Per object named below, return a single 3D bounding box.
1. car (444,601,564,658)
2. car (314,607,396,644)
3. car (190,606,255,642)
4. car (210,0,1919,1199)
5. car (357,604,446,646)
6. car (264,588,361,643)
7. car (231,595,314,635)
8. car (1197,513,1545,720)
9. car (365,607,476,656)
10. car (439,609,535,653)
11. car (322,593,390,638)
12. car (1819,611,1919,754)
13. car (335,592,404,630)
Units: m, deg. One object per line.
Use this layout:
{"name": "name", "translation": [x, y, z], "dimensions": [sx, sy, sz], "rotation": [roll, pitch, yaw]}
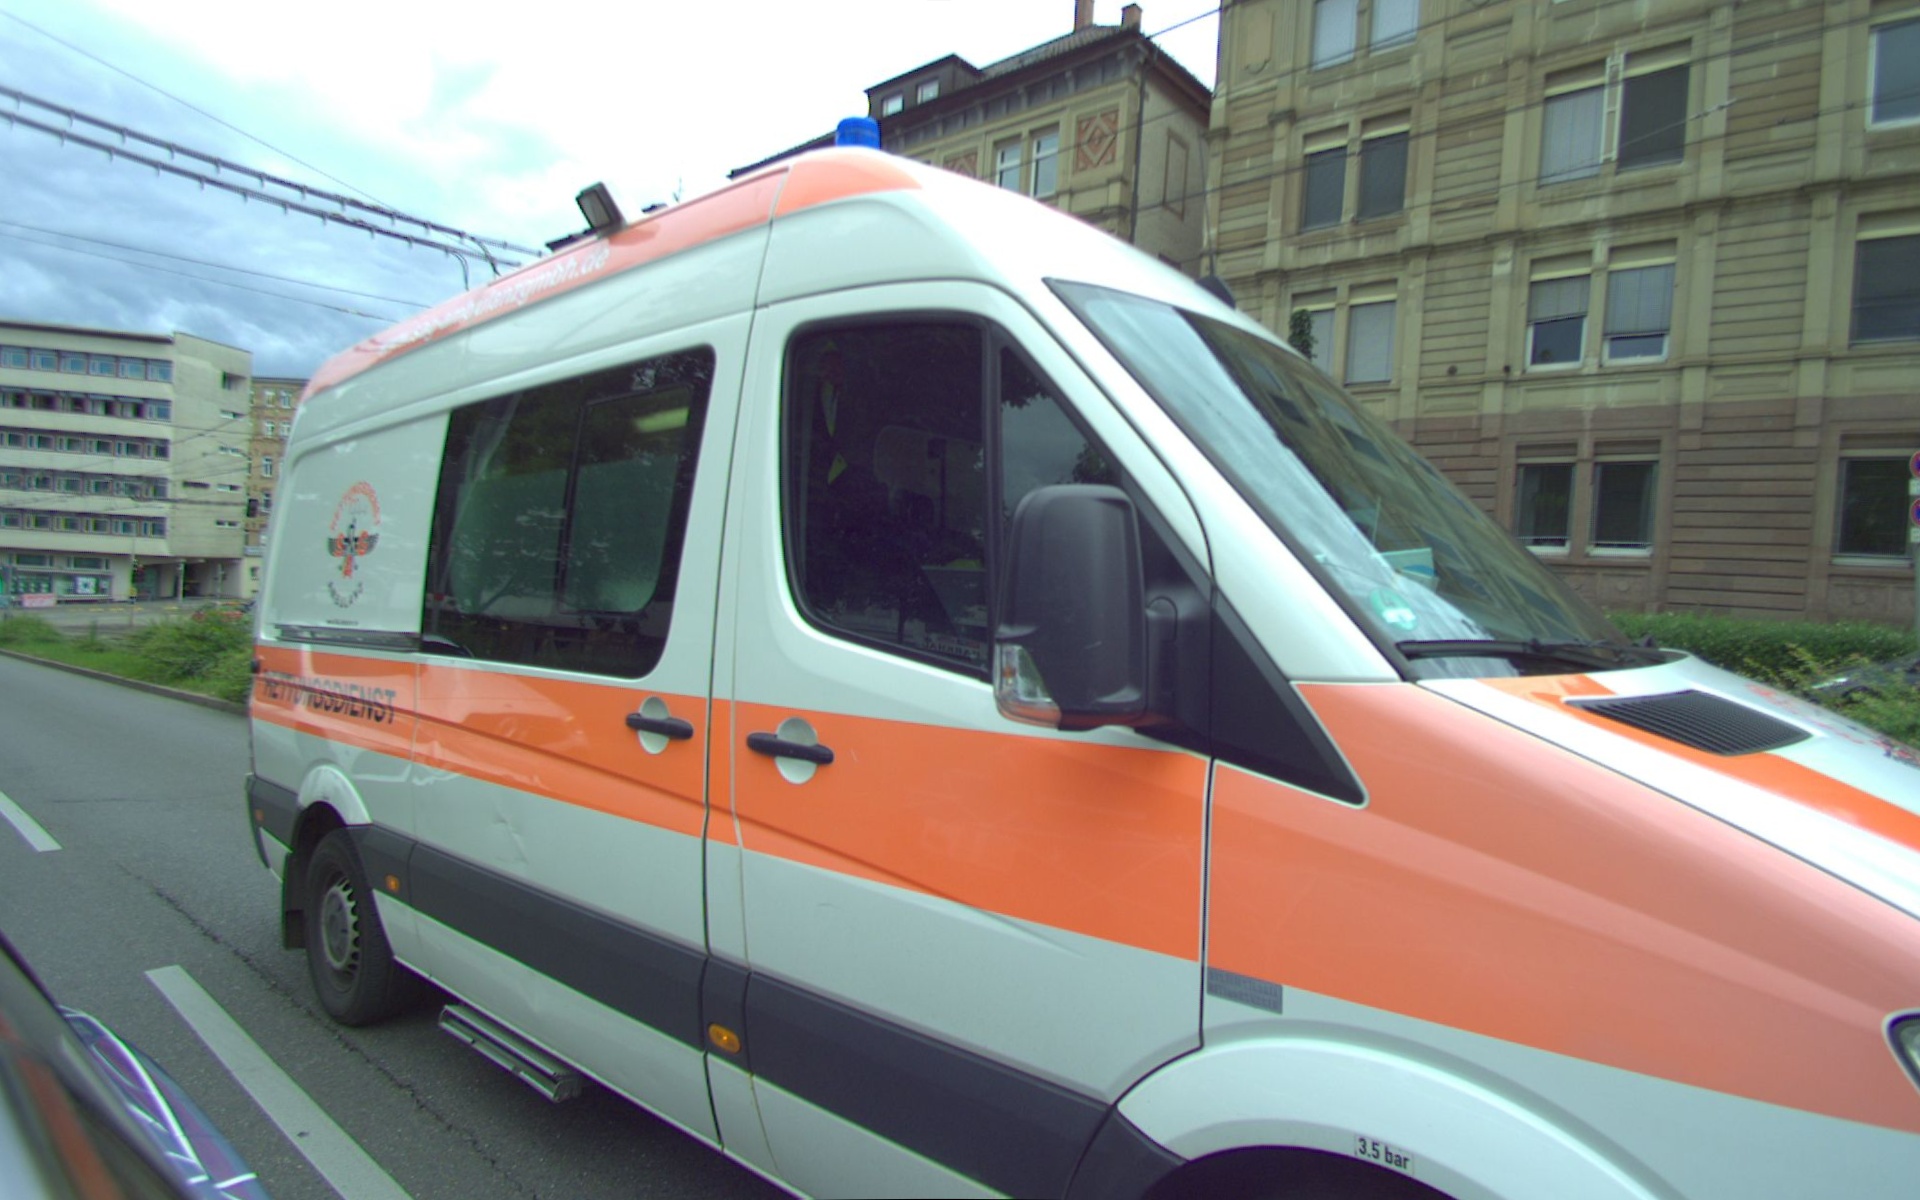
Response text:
{"name": "car", "translation": [-13.195, 0.821, 29.217], "dimensions": [3.758, 1.541, 1.736], "rotation": [0, -2, 41]}
{"name": "car", "translation": [-26.038, 1.074, 43.535], "dimensions": [3.998, 1.522, 1.863], "rotation": [0, -2, 41]}
{"name": "car", "translation": [-34.434, 1.111, 47.241], "dimensions": [3.843, 1.641, 1.659], "rotation": [0, -2, 42]}
{"name": "car", "translation": [-0.303, 0.346, 3.144], "dimensions": [5.851, 2.720, 2.012], "rotation": [-1, -1, 41]}
{"name": "car", "translation": [-22.244, 0.990, 40.274], "dimensions": [3.996, 1.581, 1.736], "rotation": [0, -2, 40]}
{"name": "car", "translation": [-25.545, 0.627, 39.850], "dimensions": [4.748, 2.029, 2.118], "rotation": [0, -2, 44]}
{"name": "car", "translation": [-29.305, 0.641, 43.123], "dimensions": [3.998, 1.596, 1.972], "rotation": [0, -2, 41]}
{"name": "car", "translation": [6.508, 0.273, 16.437], "dimensions": [2.182, 2.844, 4.789], "rotation": [2, -2, -43]}
{"name": "car", "translation": [-17.850, 1.003, 33.443], "dimensions": [3.997, 1.507, 1.875], "rotation": [0, -2, 40]}
{"name": "car", "translation": [-16.752, 1.062, 35.772], "dimensions": [3.746, 1.463, 1.704], "rotation": [0, -2, 41]}
{"name": "car", "translation": [-30.275, 0.775, 50.658], "dimensions": [3.915, 2.137, 1.771], "rotation": [0, -2, 41]}
{"name": "car", "translation": [11.125, 0.843, 10.339], "dimensions": [3.563, 1.465, 1.627], "rotation": [-1, -1, 41]}
{"name": "car", "translation": [-31.900, 0.594, 54.671], "dimensions": [3.994, 1.930, 1.825], "rotation": [0, -2, 38]}
